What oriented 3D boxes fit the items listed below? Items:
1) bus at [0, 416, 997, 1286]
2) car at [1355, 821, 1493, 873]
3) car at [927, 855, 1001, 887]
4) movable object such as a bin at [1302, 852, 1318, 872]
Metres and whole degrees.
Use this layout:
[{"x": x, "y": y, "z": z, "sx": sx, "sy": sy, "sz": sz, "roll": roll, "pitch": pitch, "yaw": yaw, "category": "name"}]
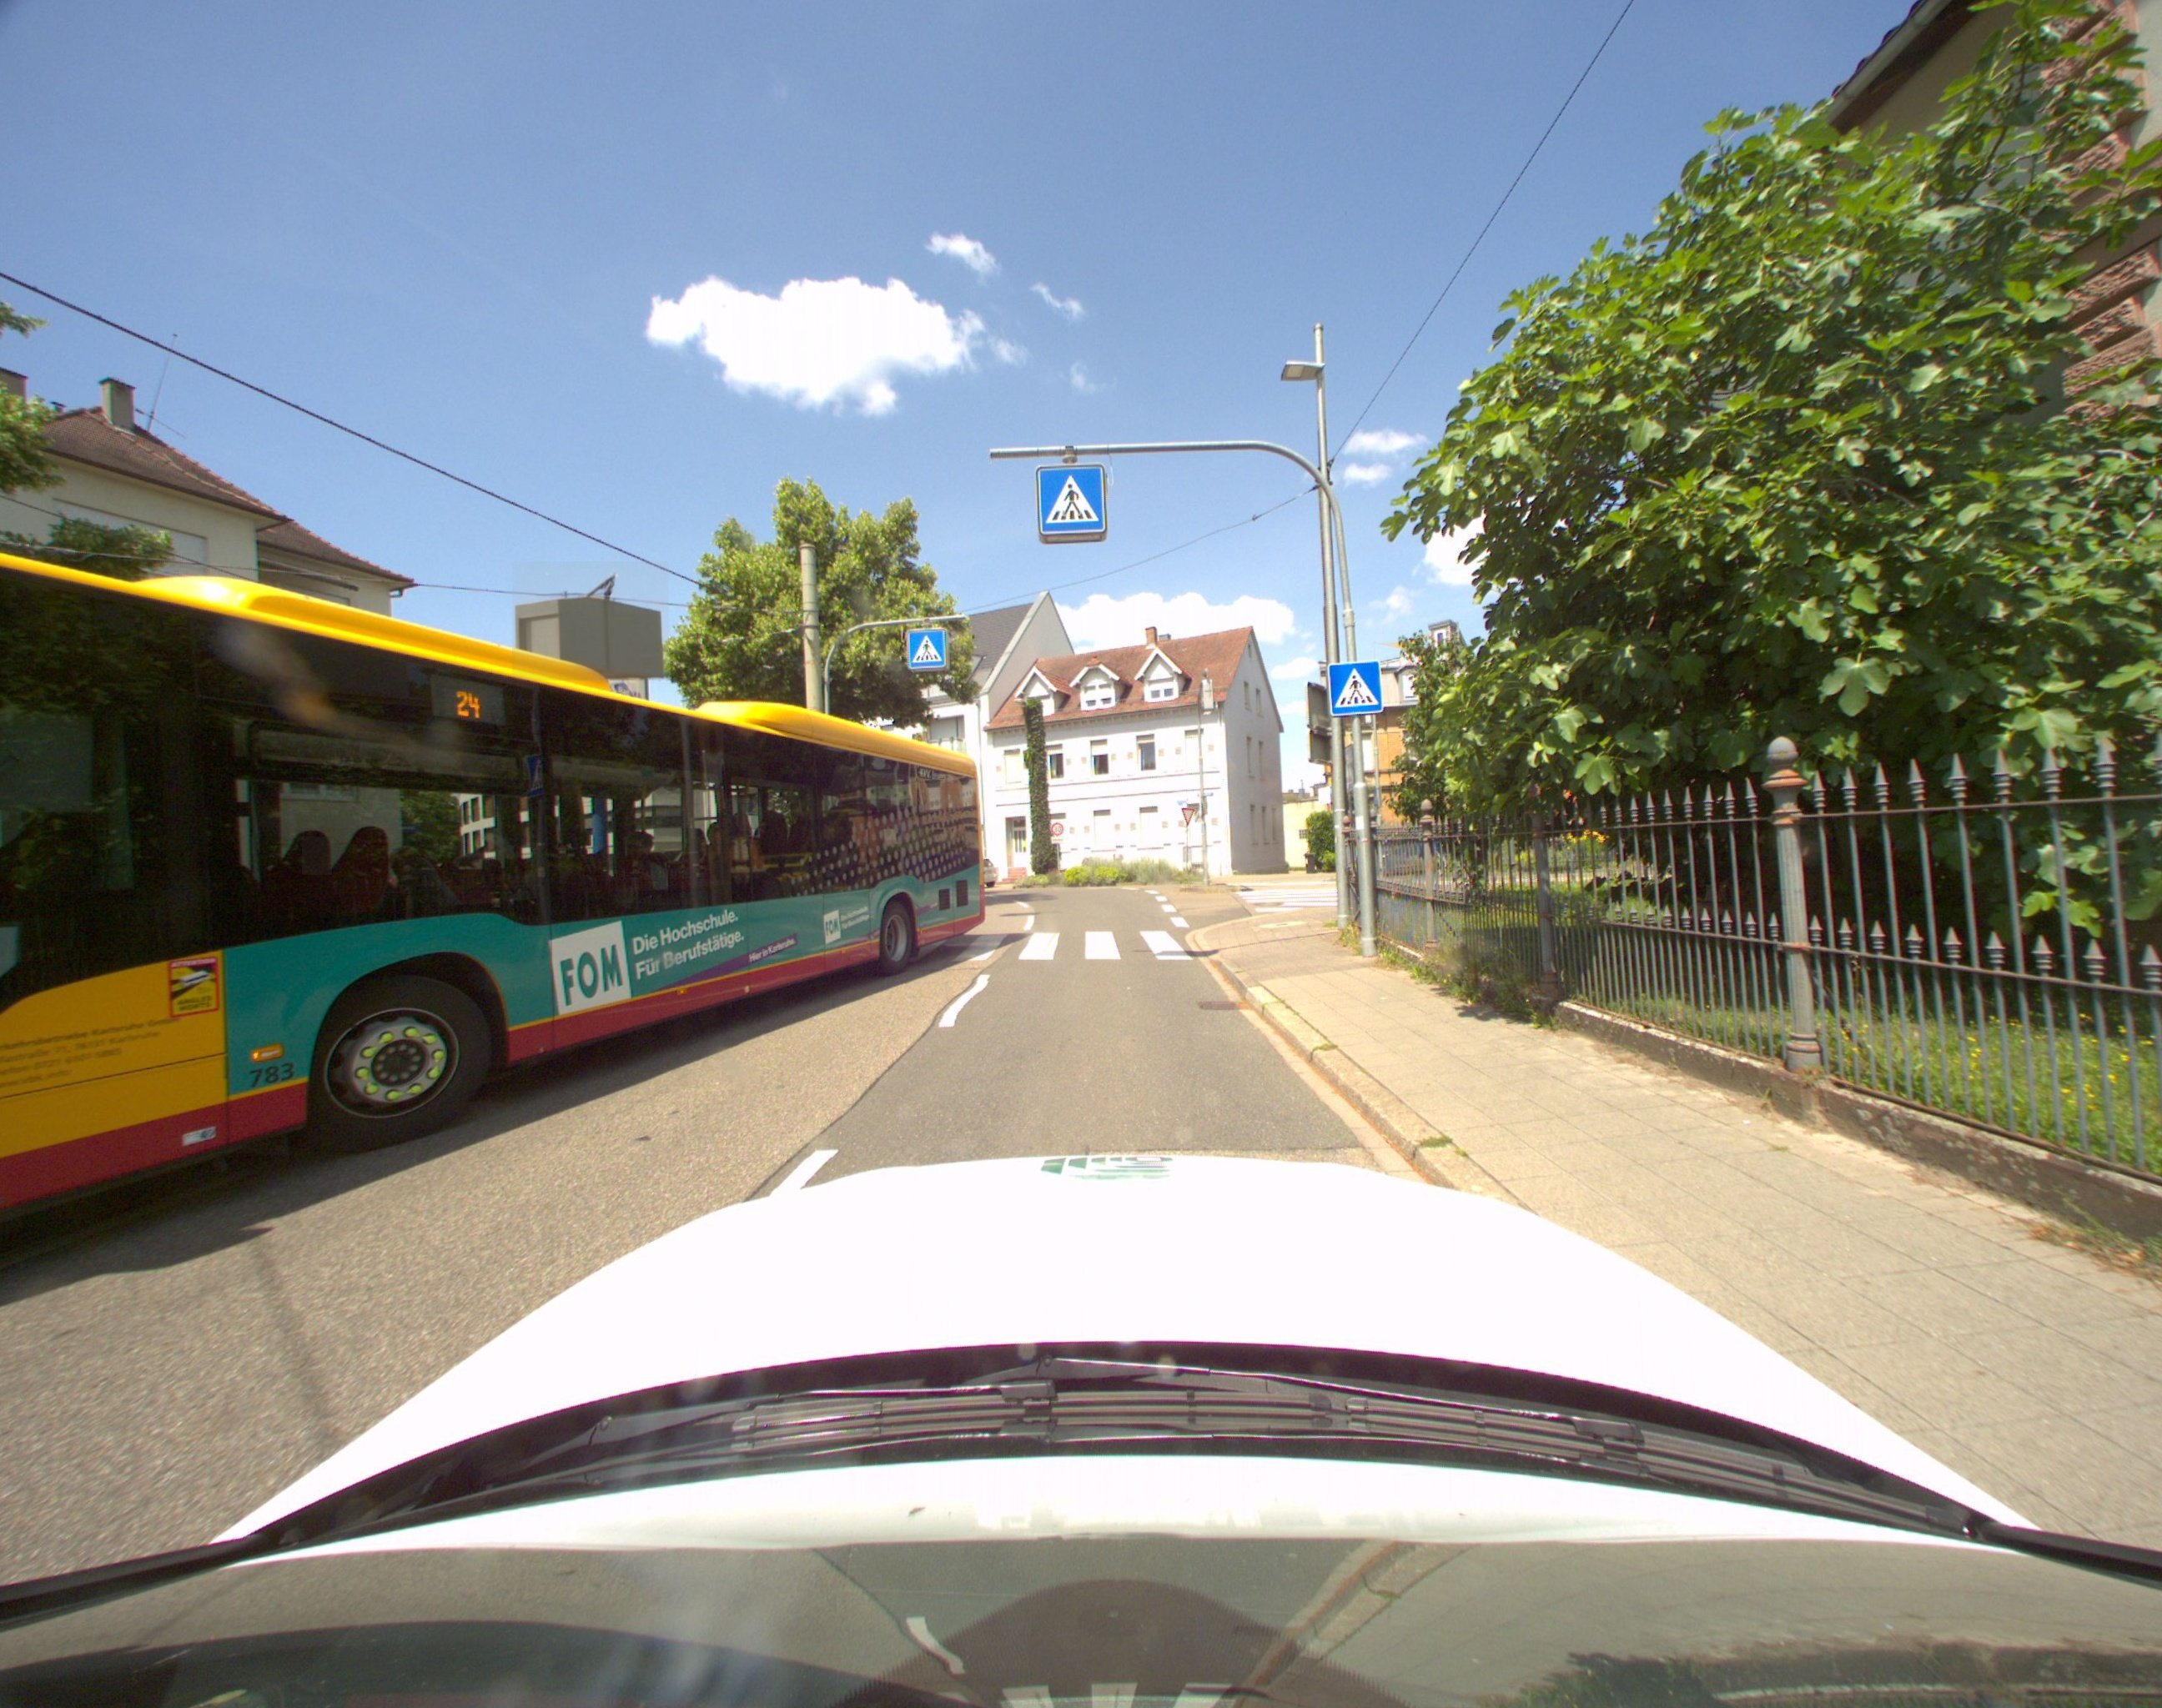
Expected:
[{"x": -4.211, "y": -0.068, "z": 8.024, "sx": 2.760, "sy": 3.208, "sz": 12.352, "roll": -1, "pitch": 1, "yaw": 13, "category": "bus"}, {"x": 14.839, "y": -0.288, "z": 35.510, "sx": 5.192, "sy": 1.947, "sz": 2.089, "roll": -3, "pitch": 1, "yaw": 11, "category": "car"}, {"x": -6.009, "y": 0.891, "z": 41.758, "sx": 3.571, "sy": 1.587, "sz": 1.594, "roll": -2, "pitch": -2, "yaw": 33, "category": "car"}, {"x": 10.462, "y": 0.366, "z": 37.248, "sx": 0.420, "sy": 0.916, "sz": 0.556, "roll": 0, "pitch": -2, "yaw": -22, "category": "movable object such as a bin"}]
